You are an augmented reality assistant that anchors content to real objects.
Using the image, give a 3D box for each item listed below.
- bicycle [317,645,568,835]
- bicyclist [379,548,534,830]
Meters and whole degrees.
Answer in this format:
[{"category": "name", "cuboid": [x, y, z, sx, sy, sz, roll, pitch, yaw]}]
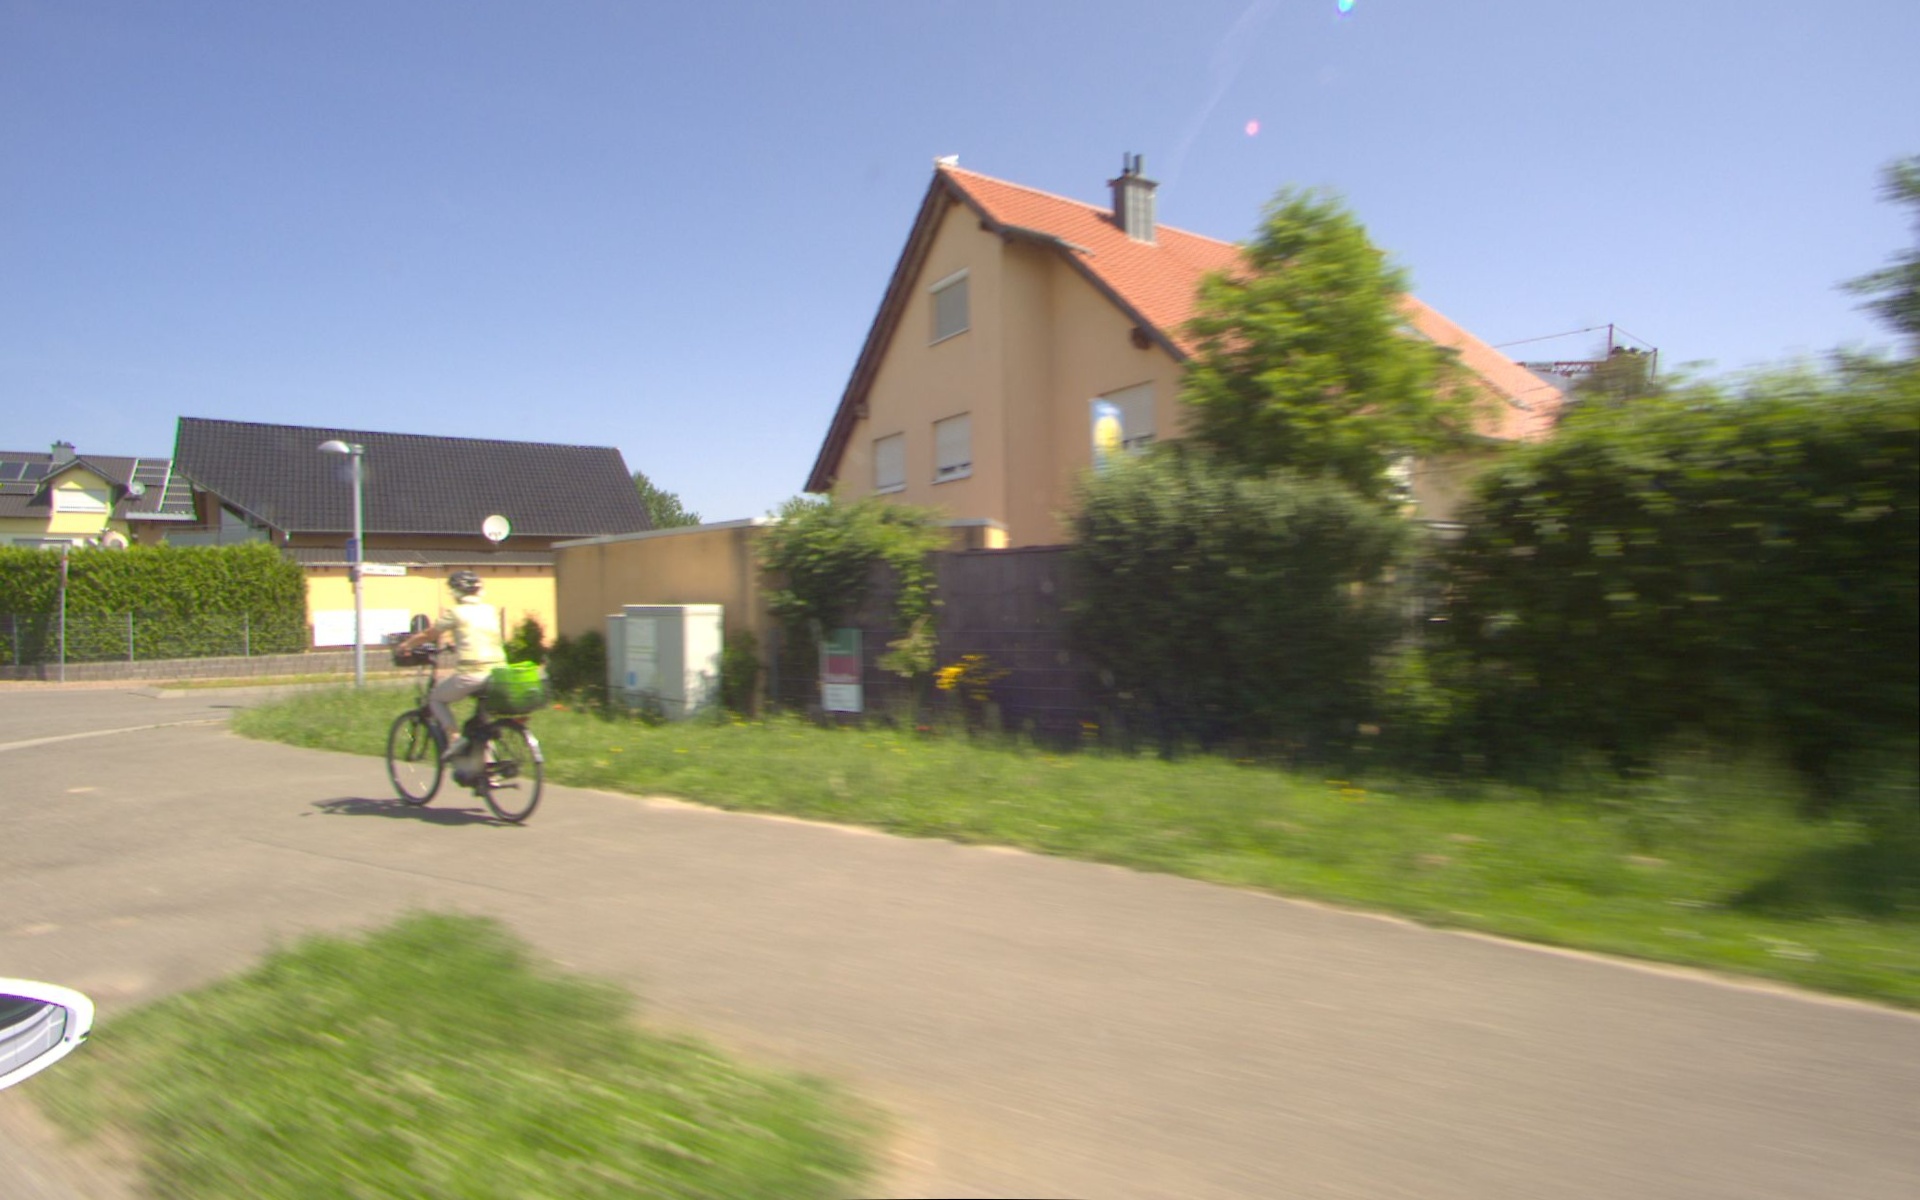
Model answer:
[{"category": "bicycle", "cuboid": [-3.895, 0.963, 7.452, 2.241, 1.174, 0.609, 1, 0, 32]}, {"category": "bicyclist", "cuboid": [-3.670, 0.610, 7.309, 0.848, 1.914, 0.644, 1, 0, 32]}]
